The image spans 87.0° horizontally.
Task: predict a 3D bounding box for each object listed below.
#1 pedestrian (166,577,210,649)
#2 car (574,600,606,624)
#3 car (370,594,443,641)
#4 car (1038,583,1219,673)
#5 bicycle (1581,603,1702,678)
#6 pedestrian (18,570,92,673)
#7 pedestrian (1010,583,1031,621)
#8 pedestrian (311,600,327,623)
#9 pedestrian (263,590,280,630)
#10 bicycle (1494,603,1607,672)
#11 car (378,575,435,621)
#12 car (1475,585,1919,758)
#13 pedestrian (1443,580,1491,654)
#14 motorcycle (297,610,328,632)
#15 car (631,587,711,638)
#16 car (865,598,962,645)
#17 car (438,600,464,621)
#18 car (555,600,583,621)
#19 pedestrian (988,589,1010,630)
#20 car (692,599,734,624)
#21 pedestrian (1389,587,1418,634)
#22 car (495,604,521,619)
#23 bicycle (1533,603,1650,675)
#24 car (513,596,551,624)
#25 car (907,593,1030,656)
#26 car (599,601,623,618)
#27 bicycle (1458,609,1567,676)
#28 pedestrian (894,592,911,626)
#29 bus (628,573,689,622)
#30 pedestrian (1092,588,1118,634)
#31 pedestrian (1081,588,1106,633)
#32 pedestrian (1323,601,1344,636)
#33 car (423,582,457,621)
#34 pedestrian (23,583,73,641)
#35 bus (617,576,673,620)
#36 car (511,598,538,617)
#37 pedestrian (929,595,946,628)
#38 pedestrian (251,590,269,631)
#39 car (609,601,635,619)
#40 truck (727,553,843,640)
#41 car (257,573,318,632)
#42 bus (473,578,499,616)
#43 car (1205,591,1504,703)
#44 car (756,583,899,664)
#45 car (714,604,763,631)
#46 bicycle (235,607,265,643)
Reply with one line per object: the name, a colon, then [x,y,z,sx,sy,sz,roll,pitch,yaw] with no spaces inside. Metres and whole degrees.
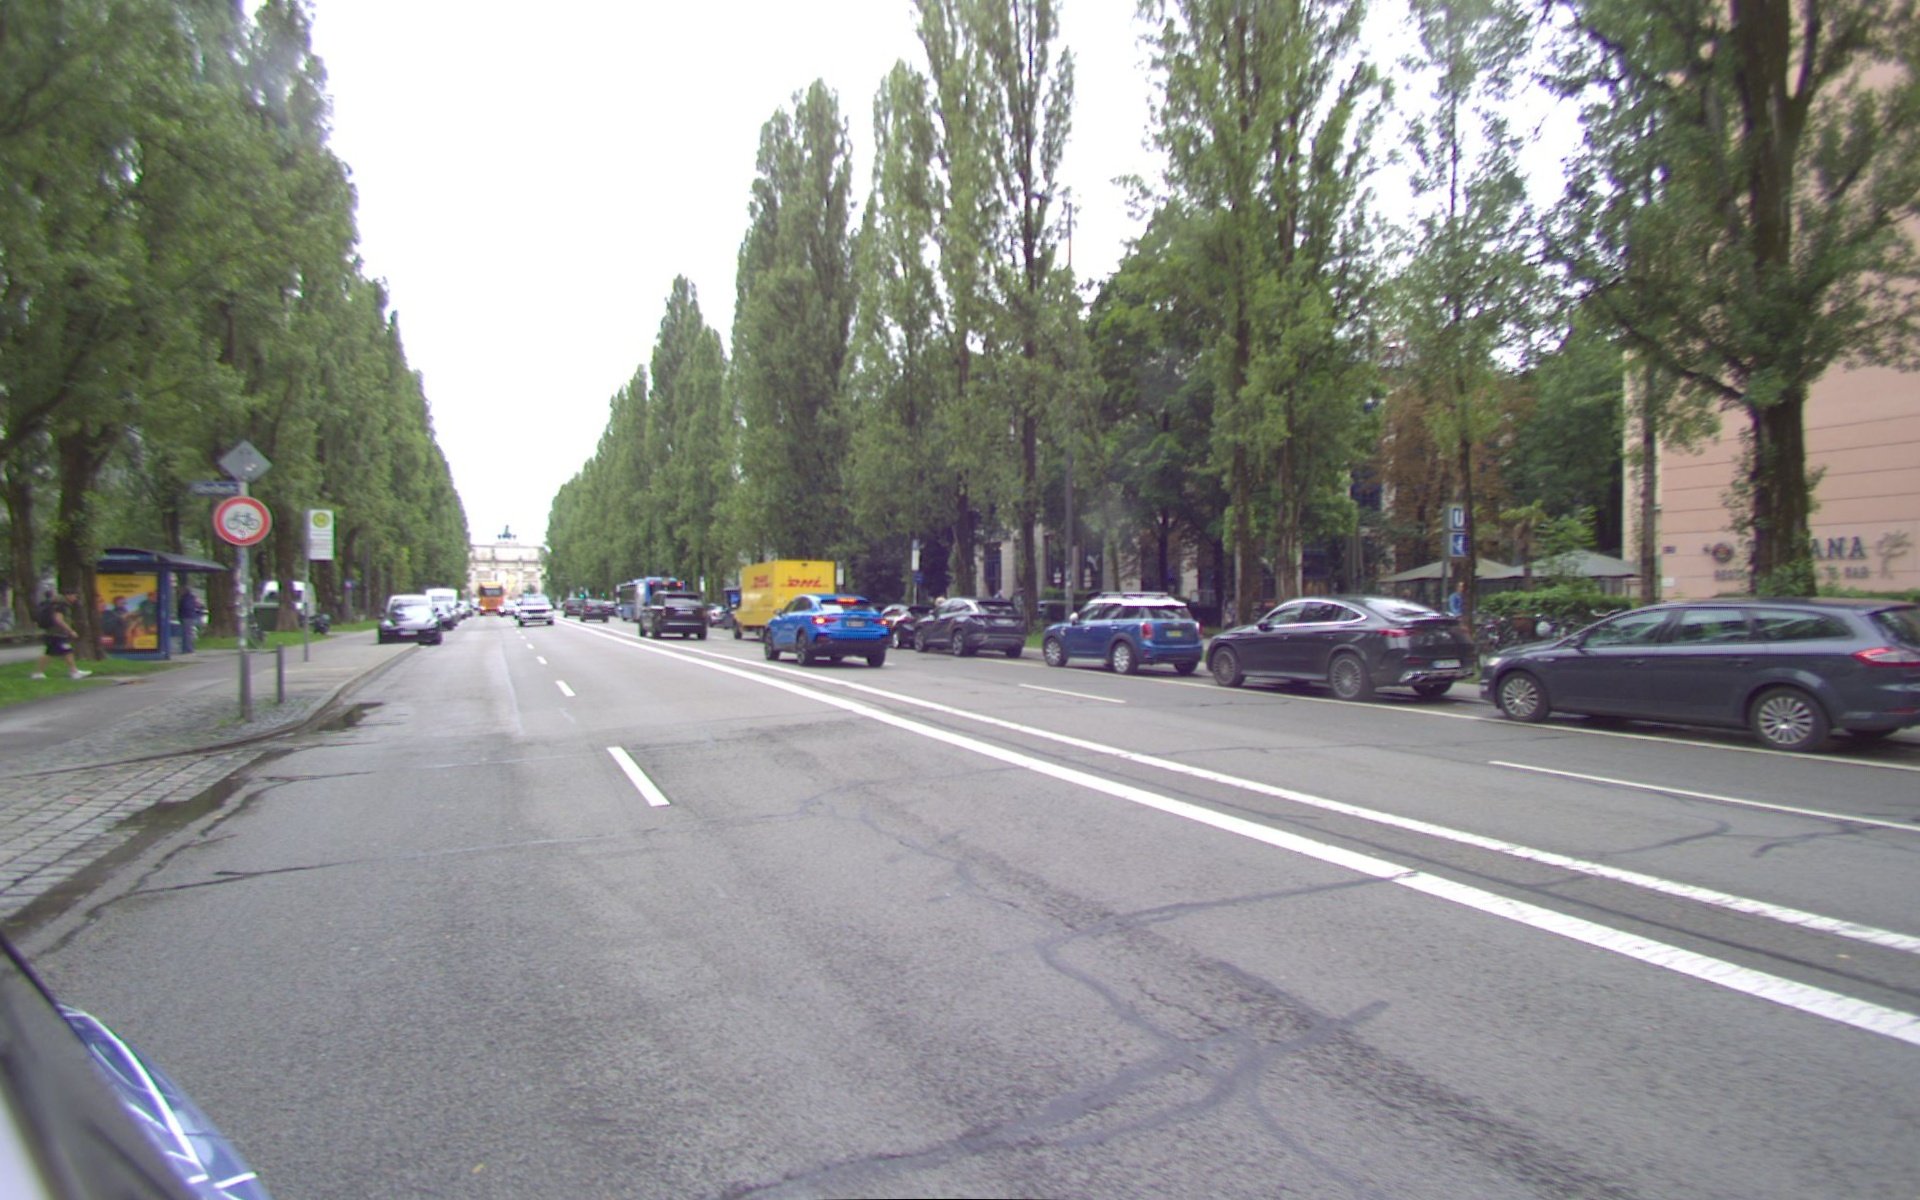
pedestrian: [-20.437,0.339,26.804,0.875,1.857,0.770,0,0,-33]
car: [-25.050,0.794,68.478,1.817,1.538,3.765,1,0,-24]
car: [-19.698,0.592,36.138,1.977,1.592,4.013,0,0,-24]
car: [3.506,0.574,21.794,1.762,1.745,4.092,1,-1,-27]
bicycle: [10.879,0.623,16.143,1.954,1.133,0.678,0,-1,-25]
pedestrian: [-16.031,0.383,17.939,0.739,1.786,0.708,1,-1,-21]
pedestrian: [2.756,0.085,45.885,0.697,1.726,0.734,0,0,-24]
pedestrian: [-47.401,0.858,74.803,0.875,1.705,0.770,0,0,-21]
pedestrian: [-29.235,0.429,42.959,0.508,1.705,0.488,0,0,-21]
bicycle: [10.243,0.633,17.543,1.954,1.133,0.678,0,-1,-25]
car: [-23.117,-0.060,42.370,1.977,1.770,4.013,-1,-2,-27]
car: [8.420,0.642,11.321,1.762,1.540,4.639,0,0,-25]
pedestrian: [12.058,0.397,24.078,0.697,1.726,0.734,0,0,-24]
motorcycle: [-28.068,0.892,43.873,1.657,0.945,0.462,0,0,33]
car: [-11.208,0.475,38.942,1.965,1.762,5.080,2,-1,-27]
car: [-1.561,0.648,32.484,1.762,1.422,3.894,0,0,-25]
car: [-45.324,0.911,90.119,1.977,1.770,4.013,0,0,-27]
car: [-33.964,0.917,87.854,1.965,1.735,4.831,1,-1,-25]
pedestrian: [1.690,0.411,43.782,0.697,1.726,0.734,0,0,-24]
car: [-14.975,0.685,61.249,1.762,1.422,3.894,0,0,-25]
pedestrian: [16.391,0.378,37.402,0.888,1.726,0.730,0,0,31]
car: [-43.475,1.086,97.300,1.621,1.407,4.011,0,0,-34]
bicycle: [10.545,0.628,16.898,1.954,1.133,0.678,0,-1,-25]
car: [-25.659,0.574,60.590,1.977,1.592,4.013,-2,1,-24]
car: [0.135,0.628,28.253,1.762,1.613,4.251,0,0,-25]
car: [-38.335,1.048,111.132,1.965,1.735,4.831,1,-1,-25]
bicycle: [9.927,0.743,18.168,1.954,1.133,0.678,0,-1,-25]
pedestrian: [-2.985,0.475,52.536,0.697,1.726,0.734,0,0,-24]
bus: [-20.386,-0.140,68.109,2.876,3.075,8.546,0,-1,-23]
pedestrian: [5.493,0.397,38.316,0.697,1.726,0.734,0,0,-24]
pedestrian: [5.198,0.387,39.355,0.697,1.726,0.734,0,0,-24]
pedestrian: [18.843,0.916,51.069,0.719,1.726,0.711,0,0,-28]
car: [-37.066,0.086,72.219,1.977,2.652,6.020,0,0,-25]
pedestrian: [-27.154,0.354,30.151,0.875,1.705,0.770,0,0,-21]
bus: [-23.427,-0.082,75.004,2.876,3.075,9.828,0,-1,-24]
car: [-36.211,0.605,84.030,1.977,1.592,4.013,0,0,-24]
pedestrian: [-1.172,0.601,52.547,0.697,1.726,0.734,0,0,-24]
pedestrian: [-29.595,0.429,42.794,0.508,1.705,0.488,0,0,-21]
car: [-33.796,0.972,101.084,1.965,1.735,4.831,1,-1,-25]
truck: [-6.666,-0.113,37.590,2.556,2.929,7.104,0,0,-24]
car: [-36.887,0.138,55.650,2.162,3.040,6.019,0,0,-27]
bus: [-54.565,-0.289,116.501,2.603,4.143,9.828,0,-1,-25]
car: [6.123,0.661,16.344,1.762,1.540,4.529,0,0,-25]
car: [-3.055,0.496,22.441,1.839,1.591,4.437,2,-1,-25]
car: [-12.077,0.932,55.055,1.762,1.422,3.894,0,0,-25]
bicycle: [-21.353,0.744,30.450,0.544,1.030,1.768,0,0,-28]
